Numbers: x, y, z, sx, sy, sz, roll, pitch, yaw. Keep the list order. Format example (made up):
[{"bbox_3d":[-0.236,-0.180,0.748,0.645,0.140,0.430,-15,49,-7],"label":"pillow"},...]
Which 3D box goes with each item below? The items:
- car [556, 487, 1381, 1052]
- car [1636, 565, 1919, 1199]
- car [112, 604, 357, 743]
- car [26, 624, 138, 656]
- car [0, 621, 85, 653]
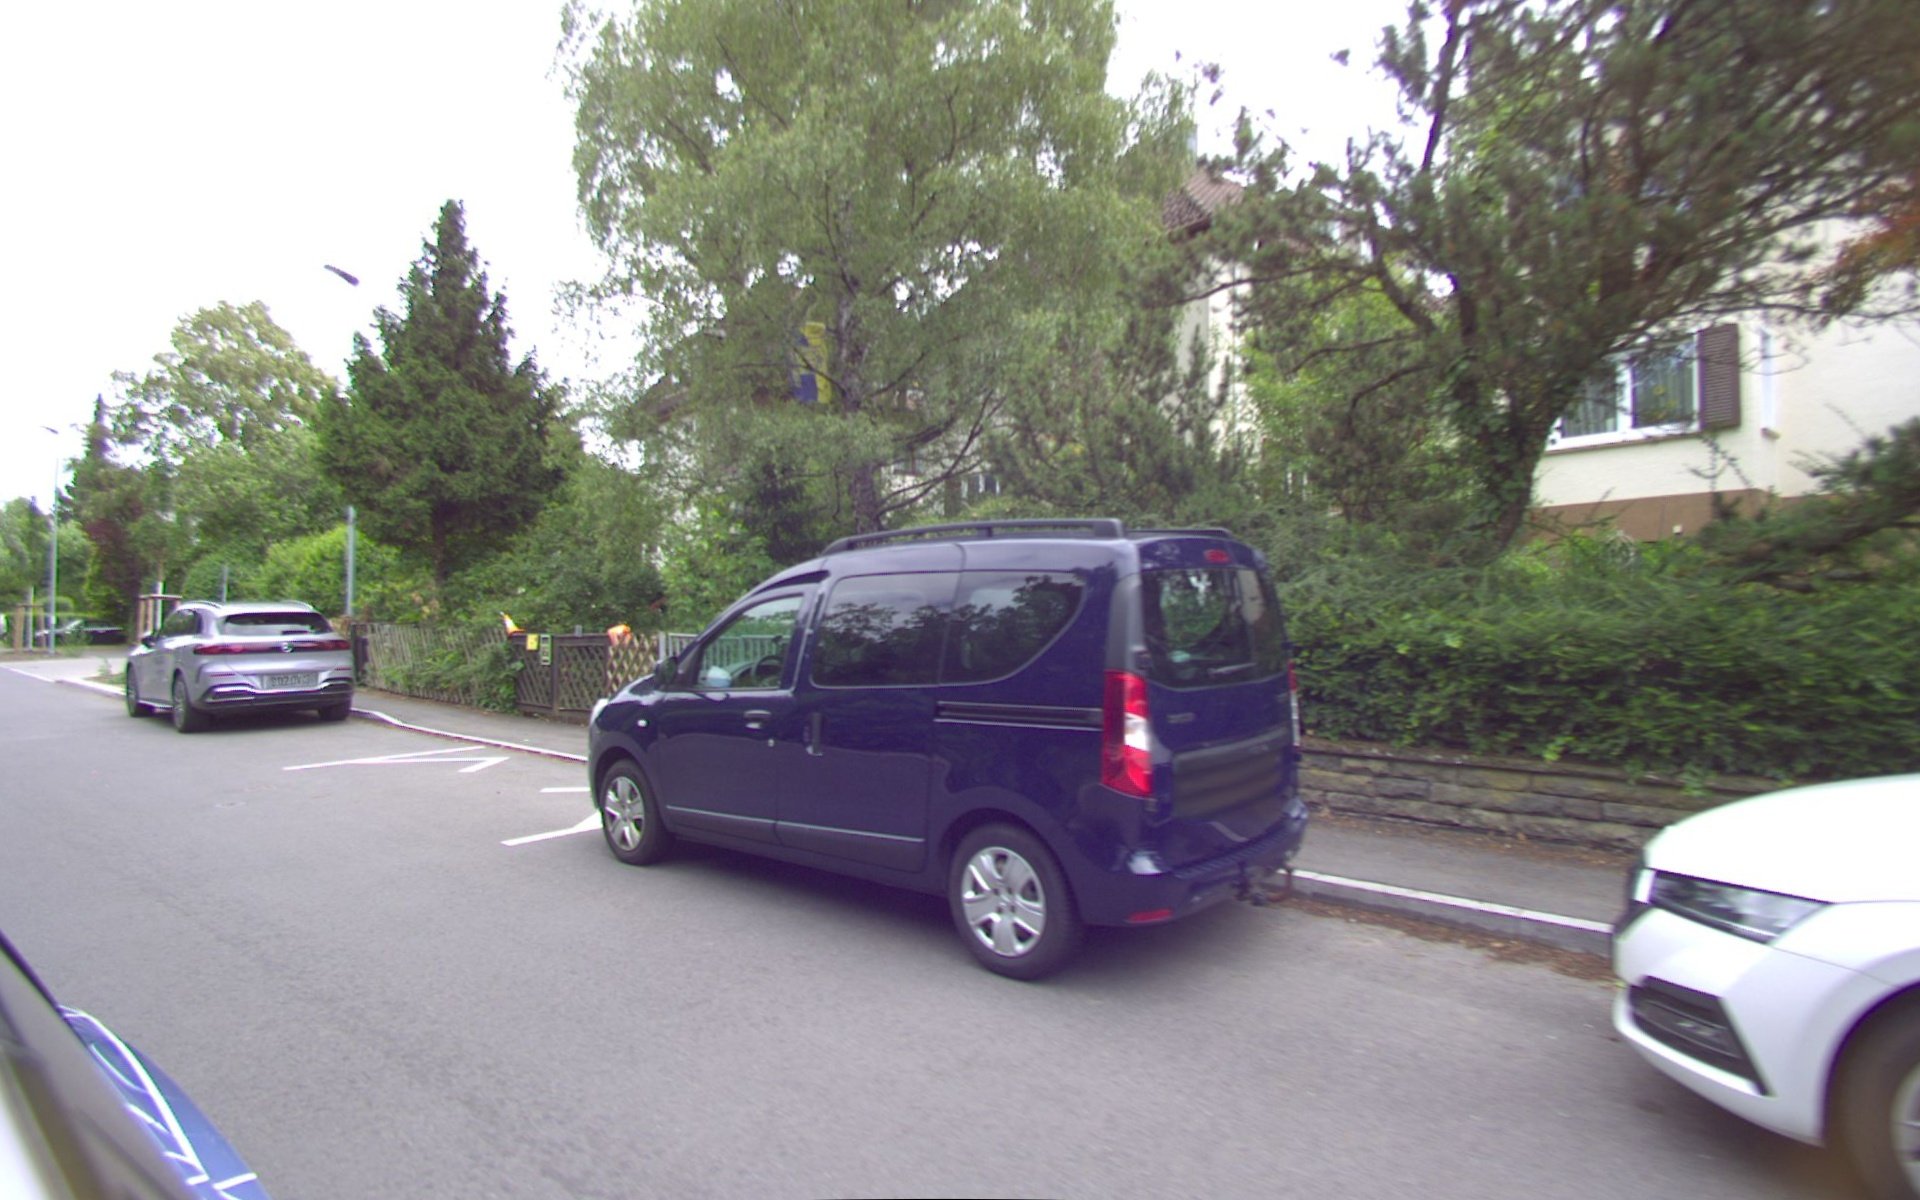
[{"bbox_3d":[-0.286,0.584,5.327,4.296,1.813,1.689,-1,-1,42],"label":"car"},{"bbox_3d":[3.867,0.660,1.487,4.555,1.523,1.688,-1,-1,44],"label":"car"},{"bbox_3d":[-10.169,0.897,14.041,4.728,1.619,1.777,-1,-1,42],"label":"car"},{"bbox_3d":[-40.086,1.798,46.243,1.641,1.324,3.724,-1,-1,42],"label":"car"},{"bbox_3d":[-48.434,1.908,53.157,3.719,1.602,1.642,0,-1,-43],"label":"car"}]
